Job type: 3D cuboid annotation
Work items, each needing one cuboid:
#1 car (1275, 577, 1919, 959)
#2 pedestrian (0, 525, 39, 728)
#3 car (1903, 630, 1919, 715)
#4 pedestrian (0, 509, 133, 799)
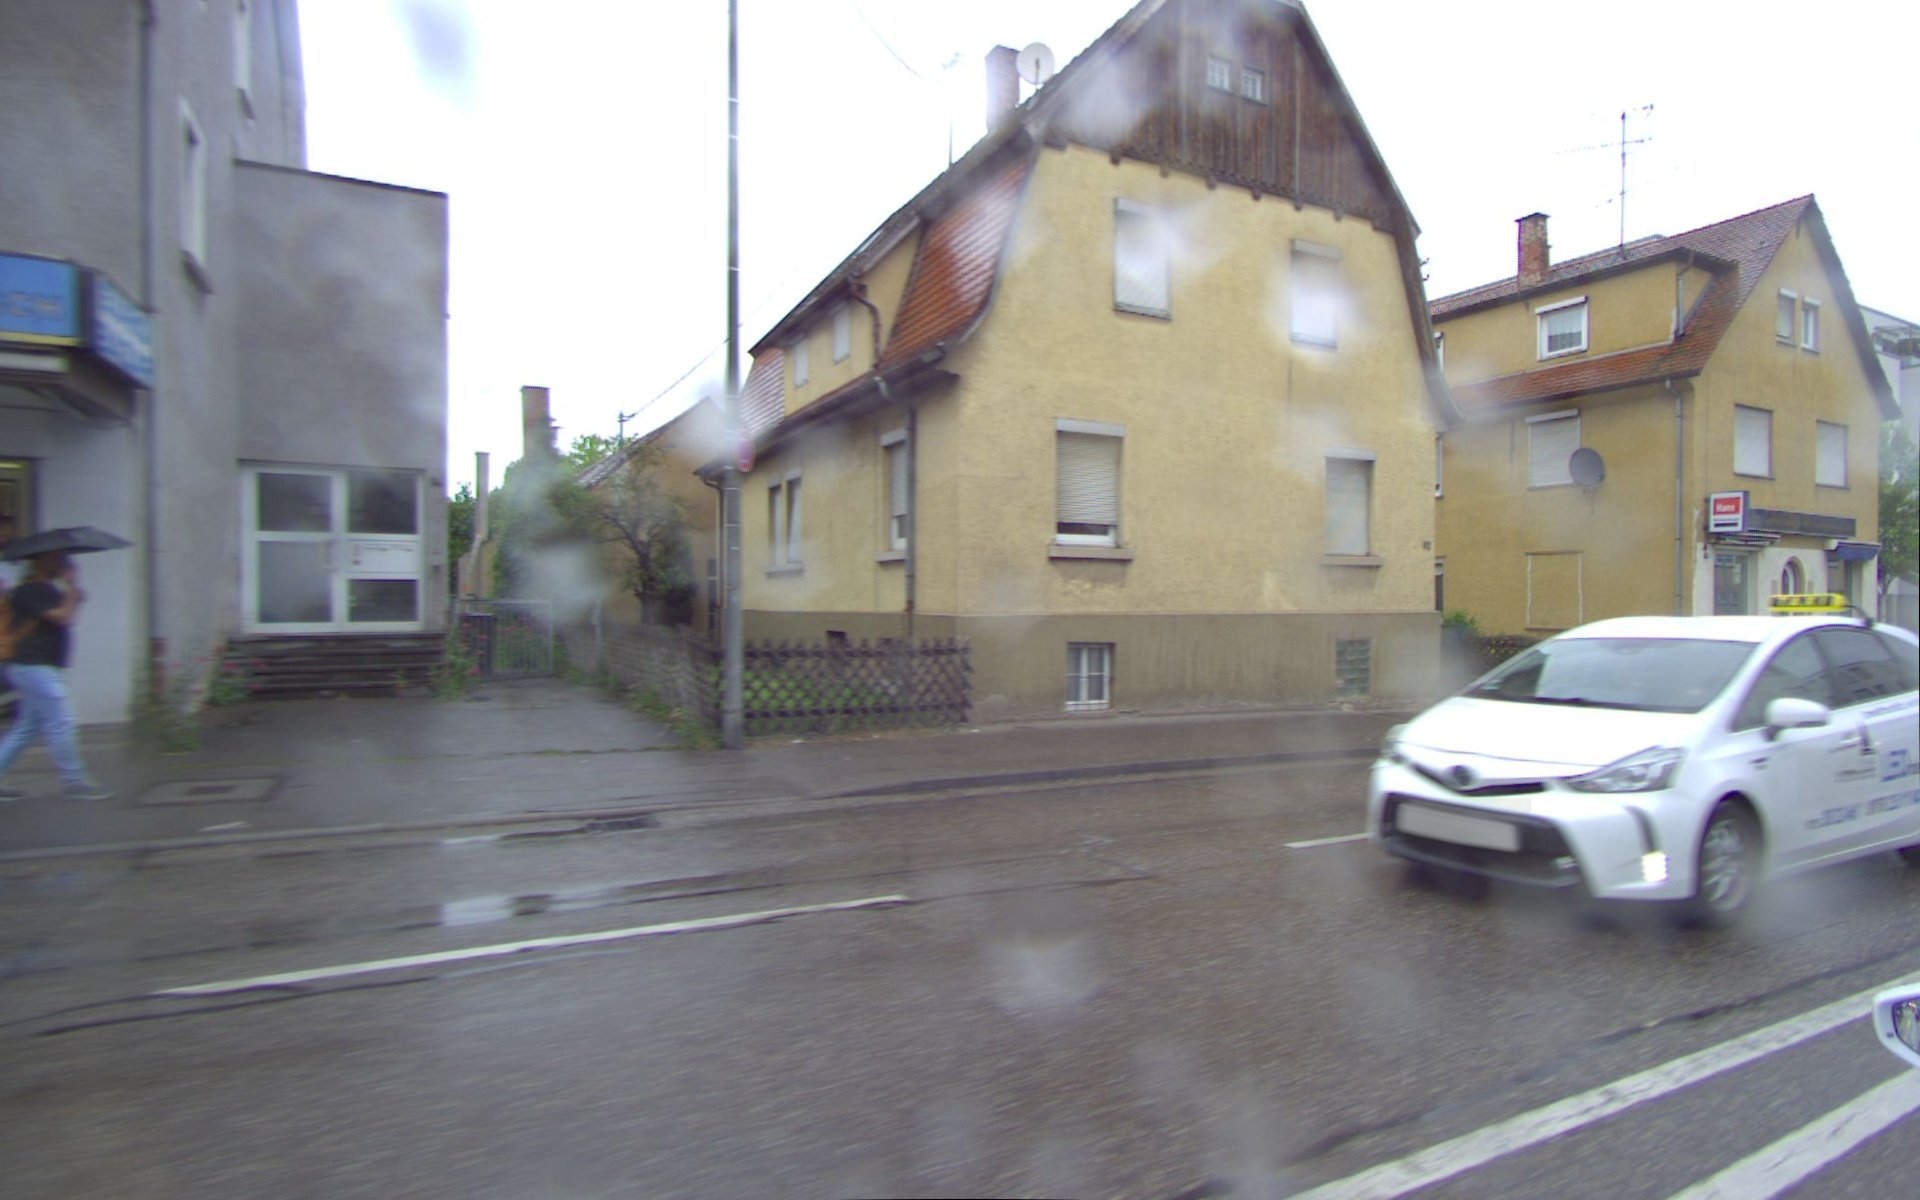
[{"bbox_3d":[4.341,0.810,6.286,4.663,1.630,1.870,2,-2,-30],"label":"car"},{"bbox_3d":[-7.706,0.204,7.956,0.441,1.578,0.541,2,-1,-29],"label":"pedestrian"},{"bbox_3d":[18.413,1.271,17.534,4.088,1.436,1.643,2,-4,-29],"label":"car"},{"bbox_3d":[-6.487,0.358,7.077,0.938,1.947,0.656,2,1,-37],"label":"pedestrian"}]
